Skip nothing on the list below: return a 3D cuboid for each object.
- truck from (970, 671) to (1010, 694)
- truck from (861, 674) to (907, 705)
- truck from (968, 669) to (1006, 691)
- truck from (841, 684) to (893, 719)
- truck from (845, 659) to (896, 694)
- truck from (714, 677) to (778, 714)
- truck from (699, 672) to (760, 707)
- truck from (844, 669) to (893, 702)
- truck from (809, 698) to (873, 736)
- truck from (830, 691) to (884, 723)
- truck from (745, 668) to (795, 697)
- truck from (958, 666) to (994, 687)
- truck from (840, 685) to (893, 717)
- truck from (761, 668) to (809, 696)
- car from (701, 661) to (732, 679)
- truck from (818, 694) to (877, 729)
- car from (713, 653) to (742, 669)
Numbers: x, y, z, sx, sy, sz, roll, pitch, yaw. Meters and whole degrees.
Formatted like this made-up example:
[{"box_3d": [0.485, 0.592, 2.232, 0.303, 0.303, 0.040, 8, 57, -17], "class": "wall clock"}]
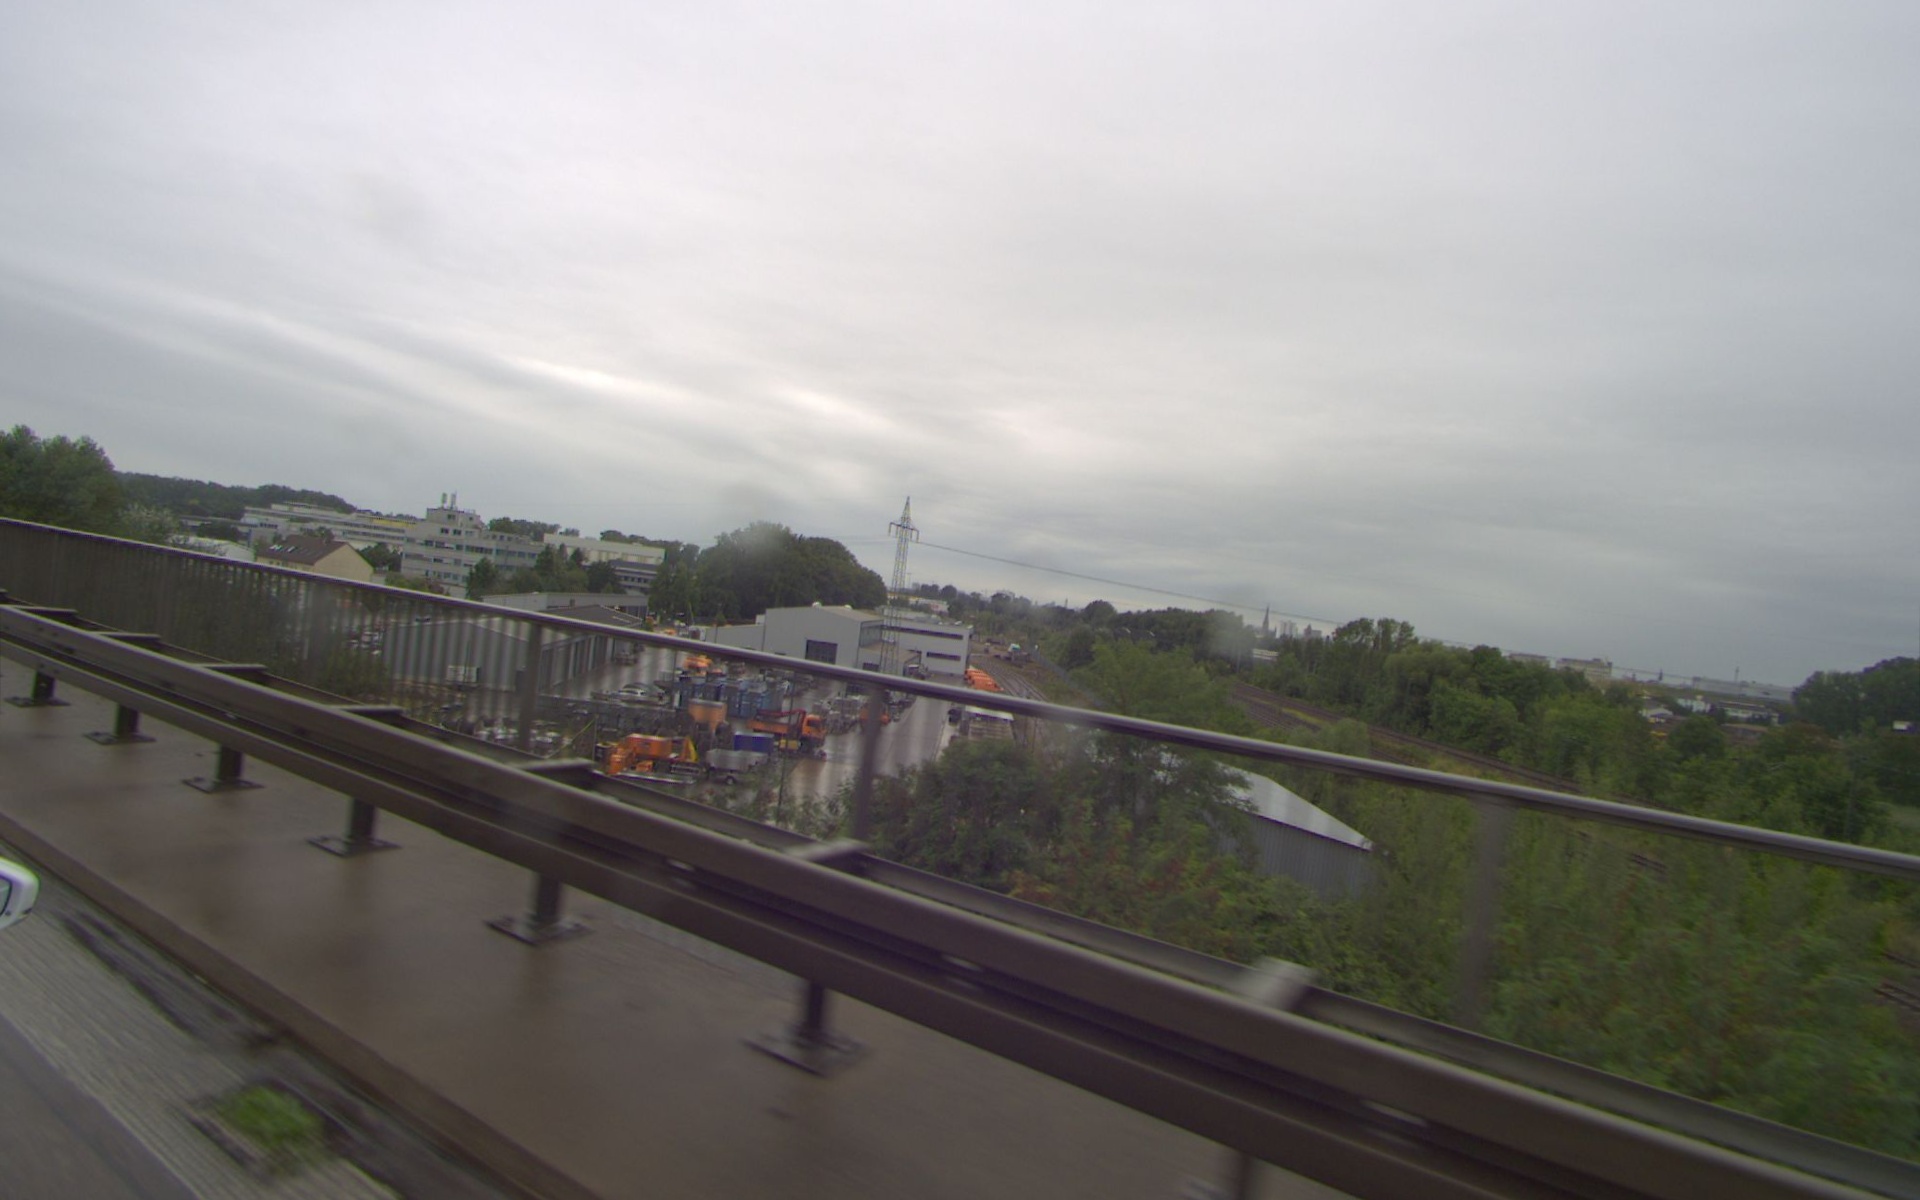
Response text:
[{"box_3d": [5.231, 14.395, 175.961, 6.488, 3.221, 2.099, 8, -2, -15], "class": "truck"}, {"box_3d": [-11.674, 13.691, 154.747, 6.469, 3.854, 2.105, 7, -1, -2], "class": "truck"}, {"box_3d": [4.983, 14.825, 185.545, 6.488, 3.221, 2.099, 8, -2, -15], "class": "truck"}, {"box_3d": [-12.559, 13.720, 135.813, 6.469, 3.854, 2.105, 7, -1, -2], "class": "truck"}, {"box_3d": [-12.276, 10.499, 138.332, 6.469, 3.854, 2.105, 7, -1, -2], "class": "truck"}, {"box_3d": [-24.375, 10.876, 114.678, 6.469, 3.221, 2.105, 7, -1, -2], "class": "truck"}, {"box_3d": [-27.415, 10.610, 119.791, 6.469, 3.221, 2.105, 7, -1, -2], "class": "truck"}, {"box_3d": [-13.025, 12.187, 143.918, 6.469, 3.854, 2.105, 7, -1, -2], "class": "truck"}, {"box_3d": [-13.035, 12.849, 110.584, 6.469, 3.221, 2.105, 7, -1, -2], "class": "truck"}, {"box_3d": [-13.131, 13.637, 128.320, 6.469, 3.221, 2.105, 7, -1, -2], "class": "truck"}, {"box_3d": [-26.949, 11.767, 142.952, 6.469, 3.221, 2.105, 7, -1, -2], "class": "truck"}, {"box_3d": [3.147, 15.047, 197.573, 6.488, 3.221, 2.099, 8, -2, -15], "class": "truck"}, {"box_3d": [-12.341, 13.313, 132.783, 6.469, 3.221, 2.105, 7, -1, -2], "class": "truck"}, {"box_3d": [-26.041, 12.180, 149.809, 6.469, 3.221, 2.105, 7, -1, -2], "class": "truck"}, {"box_3d": [-35.882, 10.334, 148.389, 3.929, 2.037, 2.000, 7, -2, -4], "class": "car"}, {"box_3d": [-13.284, 13.134, 118.792, 6.469, 3.221, 2.105, 7, -1, -2], "class": "truck"}, {"box_3d": [-35.794, 9.389, 154.847, 3.929, 2.037, 2.000, 7, -2, -4], "class": "car"}]
